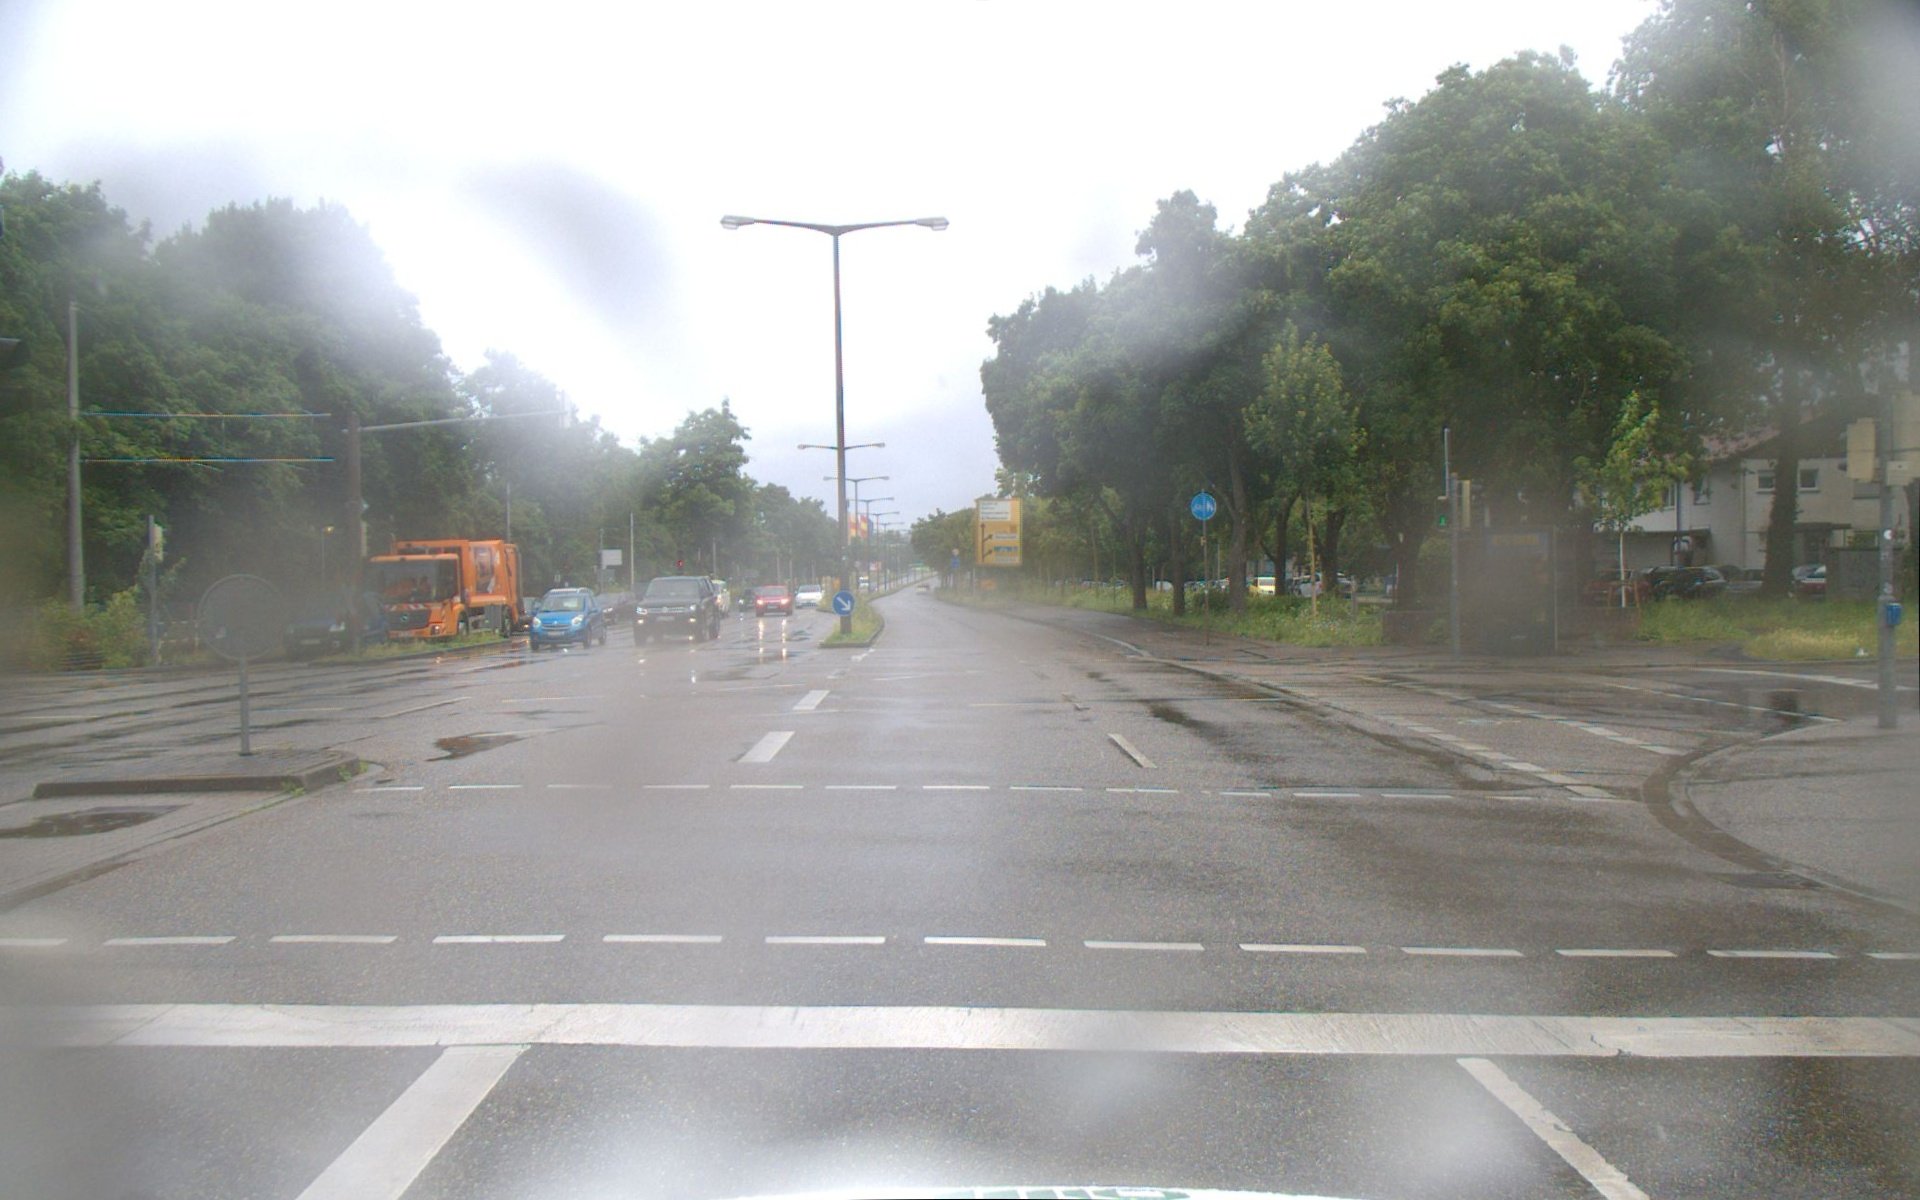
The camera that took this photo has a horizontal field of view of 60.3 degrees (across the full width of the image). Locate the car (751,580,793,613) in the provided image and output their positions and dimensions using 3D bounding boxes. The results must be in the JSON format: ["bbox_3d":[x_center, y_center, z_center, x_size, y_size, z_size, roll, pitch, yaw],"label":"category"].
[{"bbox_3d":[-9.674,-0.176,85.451,1.765,1.597,4.427,-3,0,-2],"label":"car"}]

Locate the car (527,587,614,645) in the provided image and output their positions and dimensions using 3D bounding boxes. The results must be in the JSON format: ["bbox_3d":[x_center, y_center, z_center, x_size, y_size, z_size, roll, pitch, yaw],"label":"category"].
[{"bbox_3d":[-10.750,0.429,45.880,1.608,1.452,3.997,-3,0,-3],"label":"car"}]

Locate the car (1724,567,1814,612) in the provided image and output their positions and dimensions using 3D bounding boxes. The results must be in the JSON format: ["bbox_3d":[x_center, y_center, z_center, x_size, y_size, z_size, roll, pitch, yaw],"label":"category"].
[{"bbox_3d":[27.843,-0.344,56.871,3.723,1.474,1.643,1,0,-44],"label":"car"}]

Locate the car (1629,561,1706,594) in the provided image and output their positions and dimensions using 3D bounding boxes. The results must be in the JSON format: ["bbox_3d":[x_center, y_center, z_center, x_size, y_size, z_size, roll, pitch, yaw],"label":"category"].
[{"bbox_3d":[30.531,-0.952,71.496,1.541,1.339,3.699,1,0,-4],"label":"car"}]

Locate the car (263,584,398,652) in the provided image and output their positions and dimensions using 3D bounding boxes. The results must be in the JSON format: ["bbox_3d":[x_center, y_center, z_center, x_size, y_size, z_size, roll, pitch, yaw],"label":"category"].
[{"bbox_3d":[-17.060,0.465,45.053,1.953,1.739,4.526,1,0,0],"label":"car"}]

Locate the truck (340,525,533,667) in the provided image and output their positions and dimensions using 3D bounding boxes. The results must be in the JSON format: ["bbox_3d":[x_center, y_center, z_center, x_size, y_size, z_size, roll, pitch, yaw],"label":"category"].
[{"bbox_3d":[-17.139,-0.123,55.107,3.316,4.240,10.403,1,0,-2],"label":"truck"}]

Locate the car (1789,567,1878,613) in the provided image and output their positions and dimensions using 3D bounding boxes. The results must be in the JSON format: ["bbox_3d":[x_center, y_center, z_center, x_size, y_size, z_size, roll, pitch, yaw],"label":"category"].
[{"bbox_3d":[29.253,-0.324,55.377,3.723,1.474,1.578,1,0,-44],"label":"car"}]

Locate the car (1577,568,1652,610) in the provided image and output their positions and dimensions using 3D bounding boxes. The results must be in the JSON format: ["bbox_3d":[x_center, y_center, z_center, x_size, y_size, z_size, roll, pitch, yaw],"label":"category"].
[{"bbox_3d":[23.905,-0.398,60.360,1.637,1.474,3.736,1,0,37],"label":"car"}]

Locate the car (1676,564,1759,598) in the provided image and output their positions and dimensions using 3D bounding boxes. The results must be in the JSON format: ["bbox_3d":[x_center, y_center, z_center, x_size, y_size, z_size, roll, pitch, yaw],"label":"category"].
[{"bbox_3d":[32.854,-0.820,71.848,1.552,1.409,3.997,1,0,-4],"label":"car"}]

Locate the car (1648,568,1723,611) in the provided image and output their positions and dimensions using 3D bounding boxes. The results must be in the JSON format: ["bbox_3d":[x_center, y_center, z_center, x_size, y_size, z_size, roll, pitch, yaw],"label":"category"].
[{"bbox_3d":[25.883,-0.370,58.965,1.637,1.474,3.736,1,0,37],"label":"car"}]

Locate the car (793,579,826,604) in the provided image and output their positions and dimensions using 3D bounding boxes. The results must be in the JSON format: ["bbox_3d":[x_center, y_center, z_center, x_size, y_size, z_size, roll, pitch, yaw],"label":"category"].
[{"bbox_3d":[-10.480,-0.582,115.580,1.921,1.645,4.696,-2,1,-2],"label":"car"}]

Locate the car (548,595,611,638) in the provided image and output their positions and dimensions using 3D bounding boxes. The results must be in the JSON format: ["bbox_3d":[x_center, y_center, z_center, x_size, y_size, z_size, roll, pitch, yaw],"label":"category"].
[{"bbox_3d":[-17.200,0.716,75.005,1.954,1.859,4.769,1,0,-3],"label":"car"}]

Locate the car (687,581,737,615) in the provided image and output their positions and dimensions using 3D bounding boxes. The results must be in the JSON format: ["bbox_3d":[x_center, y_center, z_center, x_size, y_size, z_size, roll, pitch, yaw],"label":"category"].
[{"bbox_3d":[-12.445,-0.119,83.255,1.855,1.639,4.499,-1,1,-1],"label":"car"}]

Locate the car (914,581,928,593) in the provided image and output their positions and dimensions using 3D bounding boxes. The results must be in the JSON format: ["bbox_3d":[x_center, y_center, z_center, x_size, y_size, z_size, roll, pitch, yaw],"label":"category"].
[{"bbox_3d":[-5.358,-1.799,229.693,1.868,1.541,3.999,-1,1,-1],"label":"car"}]

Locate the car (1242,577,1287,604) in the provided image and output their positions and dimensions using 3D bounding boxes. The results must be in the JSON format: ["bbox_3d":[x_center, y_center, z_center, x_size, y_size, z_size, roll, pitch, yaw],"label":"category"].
[{"bbox_3d":[17.431,-0.524,94.906,1.605,1.512,4.070,1,0,-4],"label":"car"}]

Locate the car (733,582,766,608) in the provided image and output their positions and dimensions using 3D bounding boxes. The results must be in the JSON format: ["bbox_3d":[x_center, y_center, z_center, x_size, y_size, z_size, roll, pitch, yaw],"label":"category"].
[{"bbox_3d":[-14.366,-0.354,113.131,1.672,1.670,4.330,-3,1,-1],"label":"car"}]

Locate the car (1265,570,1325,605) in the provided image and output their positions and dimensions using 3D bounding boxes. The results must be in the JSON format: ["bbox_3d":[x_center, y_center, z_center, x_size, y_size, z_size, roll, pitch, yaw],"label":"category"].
[{"bbox_3d":[17.584,-0.660,87.002,1.954,1.747,4.638,-2,0,-4],"label":"car"}]

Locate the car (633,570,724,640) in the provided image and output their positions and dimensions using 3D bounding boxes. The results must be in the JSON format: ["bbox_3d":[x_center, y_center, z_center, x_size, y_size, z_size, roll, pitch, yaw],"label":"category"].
[{"bbox_3d":[-7.908,0.113,46.884,1.769,1.804,5.087,-2,1,-2],"label":"car"}]

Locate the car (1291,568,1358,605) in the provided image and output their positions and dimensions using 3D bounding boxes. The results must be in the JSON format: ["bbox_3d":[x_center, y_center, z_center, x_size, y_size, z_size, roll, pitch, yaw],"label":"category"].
[{"bbox_3d":[17.929,-0.656,81.559,1.954,1.747,4.875,-2,0,-4],"label":"car"}]
